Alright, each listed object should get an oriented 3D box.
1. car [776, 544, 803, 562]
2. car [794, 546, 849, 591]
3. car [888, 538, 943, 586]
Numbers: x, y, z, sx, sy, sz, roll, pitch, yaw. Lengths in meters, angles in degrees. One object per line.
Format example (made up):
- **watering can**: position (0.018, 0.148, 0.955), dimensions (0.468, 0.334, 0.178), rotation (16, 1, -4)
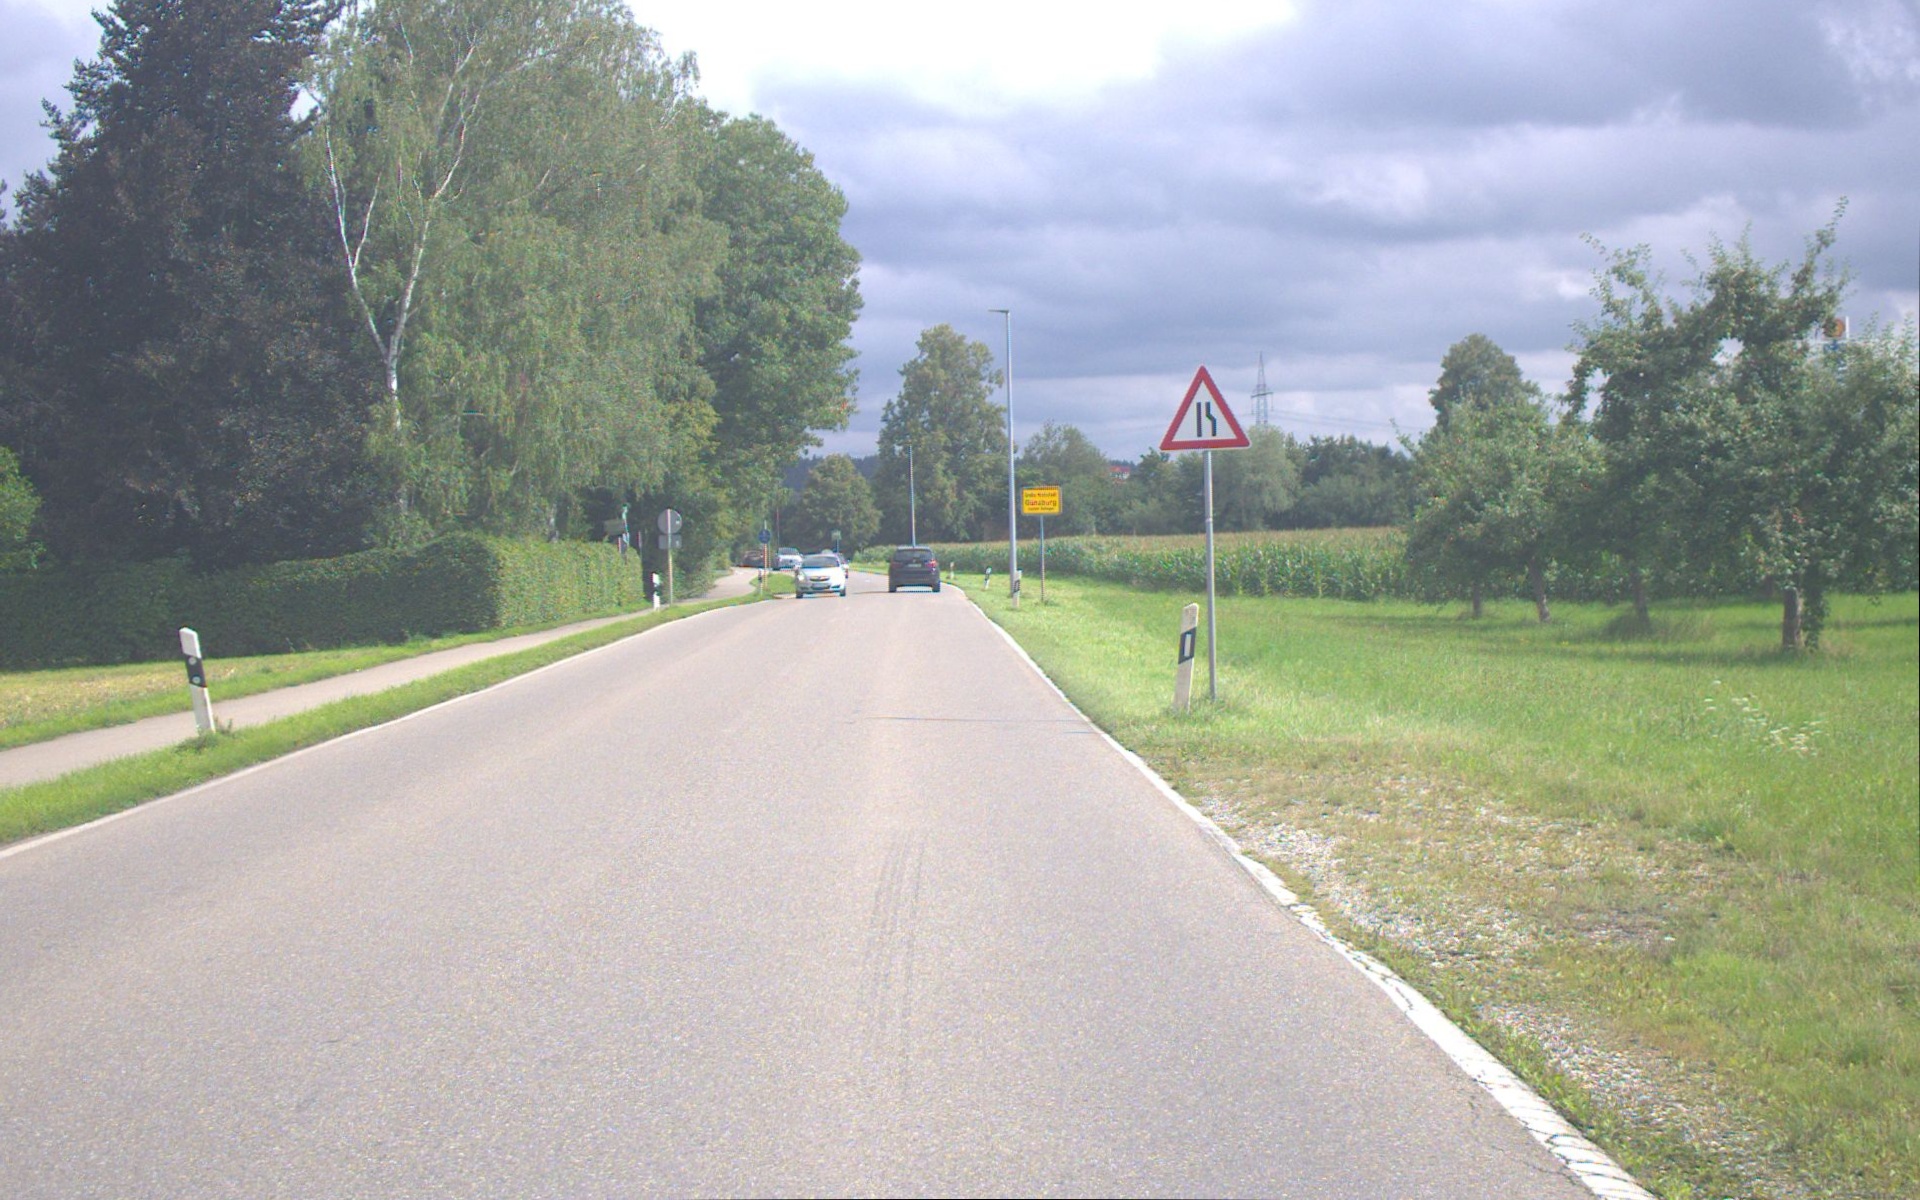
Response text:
- **car**: position (-12.456, -3.448, 251.136), dimensions (1.745, 1.218, 3.543), rotation (-2, 1, 0)
- **car**: position (-4.680, -1.076, 116.463), dimensions (1.695, 1.454, 3.543), rotation (-1, 1, 0)
- **car**: position (-1.634, -1.406, 125.593), dimensions (1.906, 1.660, 4.000), rotation (-2, 1, -1)
